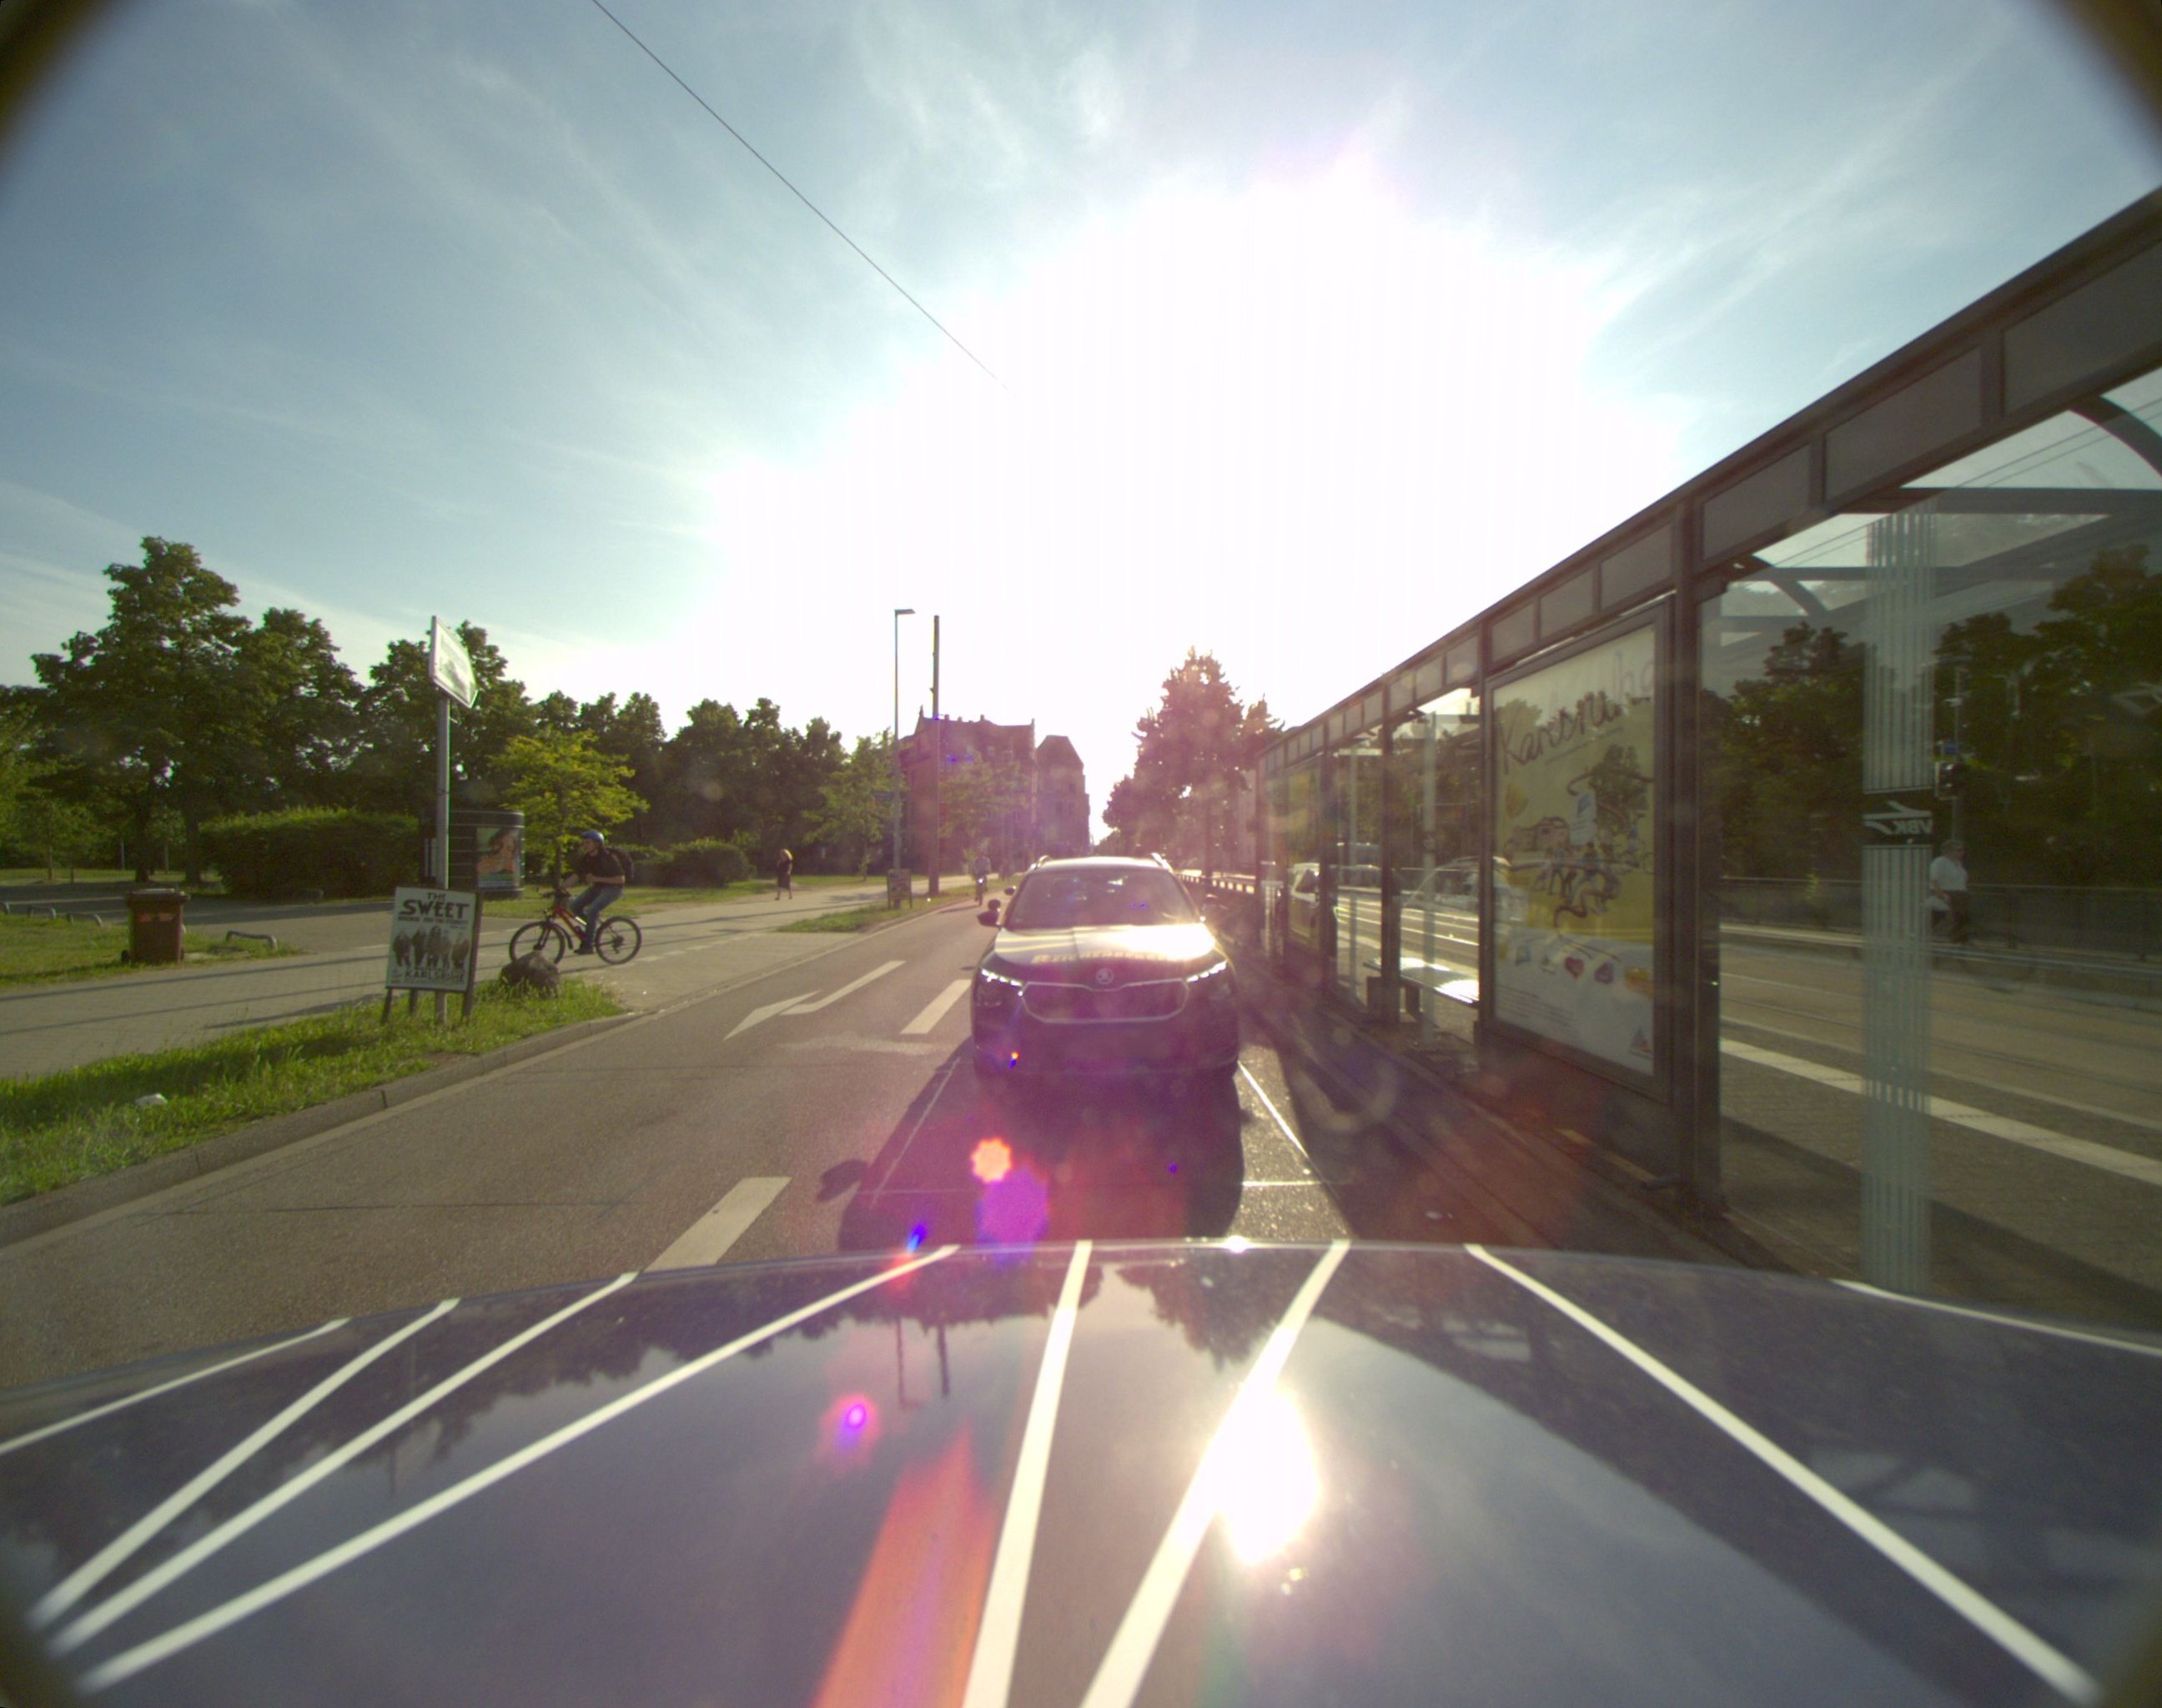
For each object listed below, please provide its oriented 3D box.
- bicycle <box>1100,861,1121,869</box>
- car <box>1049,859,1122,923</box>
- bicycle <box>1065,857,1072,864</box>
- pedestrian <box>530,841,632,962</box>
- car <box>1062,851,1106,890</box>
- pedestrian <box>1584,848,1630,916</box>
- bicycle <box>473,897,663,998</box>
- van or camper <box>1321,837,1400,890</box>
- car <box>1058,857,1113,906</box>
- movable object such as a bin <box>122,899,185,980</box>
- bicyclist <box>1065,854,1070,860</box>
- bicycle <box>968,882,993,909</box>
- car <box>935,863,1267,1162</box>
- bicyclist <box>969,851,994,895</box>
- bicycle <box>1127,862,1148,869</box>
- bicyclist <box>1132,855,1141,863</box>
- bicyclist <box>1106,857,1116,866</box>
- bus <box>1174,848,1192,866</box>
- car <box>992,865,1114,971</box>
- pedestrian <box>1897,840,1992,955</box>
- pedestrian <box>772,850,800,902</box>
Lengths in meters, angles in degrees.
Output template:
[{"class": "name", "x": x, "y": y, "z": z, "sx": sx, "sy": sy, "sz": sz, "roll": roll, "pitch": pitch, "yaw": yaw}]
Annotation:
[{"class": "bicycle", "x": 3.577, "y": 1.345, "z": 91.792, "sx": 2.536, "sy": 0.876, "sz": 0.631, "roll": 0, "pitch": 0, "yaw": 5}, {"class": "car", "x": 0.147, "y": 0.933, "z": 21.013, "sx": 1.756, "sy": 1.534, "sz": 4.235, "roll": -1, "pitch": 0, "yaw": 1}, {"class": "bicycle", "x": -1.767, "y": 0.860, "z": 104.772, "sx": 0.630, "sy": 0.876, "sz": 2.538, "roll": 0, "pitch": 0, "yaw": -8}, {"class": "pedestrian", "x": -6.567, "y": 0.598, "z": 10.014, "sx": 0.636, "sy": 1.512, "sz": 0.846, "roll": -2, "pitch": 1, "yaw": 22}, {"class": "car", "x": 0.170, "y": 0.685, "z": 33.068, "sx": 1.756, "sy": 1.534, "sz": 4.235, "roll": -1, "pitch": 0, "yaw": 1}, {"class": "pedestrian", "x": 13.359, "y": 0.696, "z": 19.315, "sx": 0.621, "sy": 1.675, "sz": 0.618, "roll": 3, "pitch": 1, "yaw": 1}, {"class": "bicycle", "x": -6.579, "y": 1.151, "z": 9.895, "sx": 0.650, "sy": 1.040, "sz": 1.983, "roll": -2, "pitch": 1, "yaw": 22}, {"class": "van or camper", "x": 17.023, "y": 0.521, "z": 46.761, "sx": 2.527, "sy": 2.951, "sz": 6.411, "roll": -2, "pitch": 1, "yaw": 1}, {"class": "car", "x": 0.182, "y": 0.912, "z": 27.098, "sx": 1.756, "sy": 1.534, "sz": 4.235, "roll": -1, "pitch": 0, "yaw": 1}, {"class": "movable object such as a bin", "x": -11.410, "y": 1.031, "z": 9.360, "sx": 0.603, "sy": 0.912, "sz": 0.457, "roll": 1, "pitch": 1, "yaw": 42}, {"class": "bicyclist", "x": -1.810, "y": 0.433, "z": 104.807, "sx": 0.616, "sy": 0.908, "sz": 0.897, "roll": 0, "pitch": 0, "yaw": -8}, {"class": "bicycle", "x": -3.294, "y": 1.348, "z": 25.108, "sx": 0.567, "sy": 0.789, "sz": 2.041, "roll": 0, "pitch": 0, "yaw": 0}, {"class": "car", "x": 0.143, "y": 0.888, "z": 6.228, "sx": 1.756, "sy": 1.534, "sz": 4.235, "roll": -1, "pitch": 0, "yaw": 1}, {"class": "bicyclist", "x": -3.272, "y": 0.621, "z": 25.163, "sx": 0.689, "sy": 1.445, "sz": 1.111, "roll": 0, "pitch": 0, "yaw": 0}, {"class": "bicycle", "x": 6.940, "y": 1.378, "z": 93.768, "sx": 2.541, "sy": 0.876, "sz": 0.630, "roll": 0, "pitch": 0, "yaw": -15}, {"class": "bicyclist", "x": 6.823, "y": 0.621, "z": 93.728, "sx": 0.898, "sy": 0.908, "sz": 0.615, "roll": 0, "pitch": 0, "yaw": -15}, {"class": "bicyclist", "x": 3.607, "y": 0.925, "z": 91.789, "sx": 1.217, "sy": 1.018, "sz": 0.671, "roll": 0, "pitch": 0, "yaw": 4}, {"class": "bus", "x": 20.035, "y": 0.582, "z": 149.938, "sx": 2.437, "sy": 3.415, "sz": 9.261, "roll": -2, "pitch": 1, "yaw": 1}, {"class": "car", "x": -0.379, "y": 0.979, "z": 13.338, "sx": 1.756, "sy": 1.451, "sz": 4.235, "roll": -1, "pitch": 0, "yaw": 1}, {"class": "pedestrian", "x": 13.149, "y": 0.644, "z": 11.585, "sx": 0.621, "sy": 1.675, "sz": 0.618, "roll": 3, "pitch": 1, "yaw": 1}, {"class": "pedestrian", "x": -9.772, "y": 0.722, "z": 25.151, "sx": 0.621, "sy": 1.675, "sz": 0.618, "roll": -2, "pitch": 1, "yaw": 1}]
